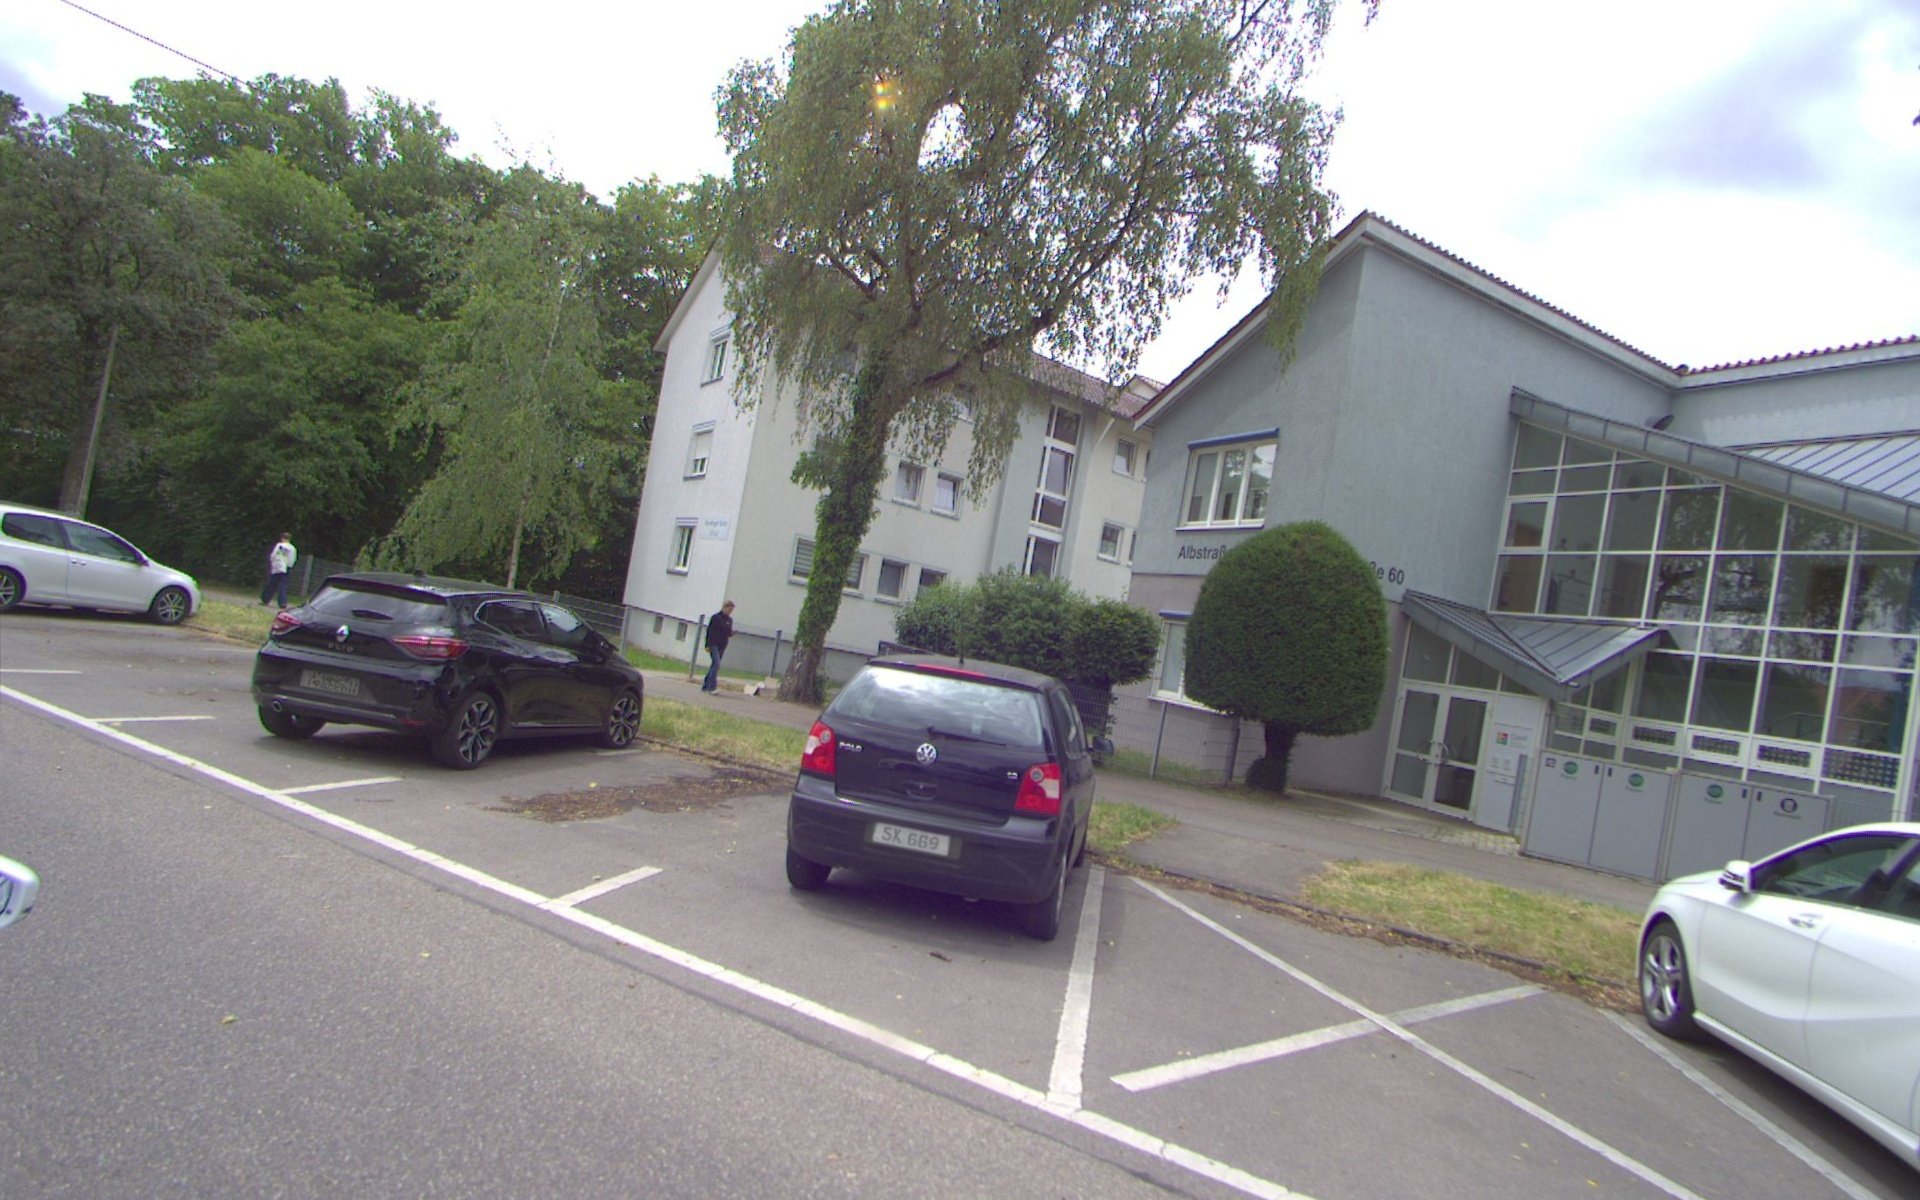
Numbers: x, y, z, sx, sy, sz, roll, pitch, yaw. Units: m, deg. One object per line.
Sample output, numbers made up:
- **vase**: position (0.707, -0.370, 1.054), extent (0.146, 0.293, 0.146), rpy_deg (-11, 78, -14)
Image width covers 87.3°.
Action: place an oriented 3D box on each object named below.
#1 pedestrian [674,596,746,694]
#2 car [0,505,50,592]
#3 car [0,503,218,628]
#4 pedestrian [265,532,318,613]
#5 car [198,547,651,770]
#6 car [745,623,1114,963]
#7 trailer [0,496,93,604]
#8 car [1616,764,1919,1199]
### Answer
- **pedestrian**: position (-4.230, 0.772, 17.064), extent (0.763, 1.521, 0.695), rpy_deg (8, -2, 11)
- **car**: position (-18.093, -1.166, 16.761), extent (1.816, 1.479, 4.008), rpy_deg (8, -4, 6)
- **car**: position (-13.628, -0.560, 14.968), extent (1.757, 1.479, 4.008), rpy_deg (8, -4, 6)
- **pedestrian**: position (-14.797, -0.613, 22.268), extent (0.689, 1.662, 0.769), rpy_deg (9, -2, -40)
- **car**: position (-4.519, 0.570, 9.273), extent (1.683, 1.449, 3.864), rpy_deg (6, -4, 6)
- **car**: position (0.086, 1.131, 6.947), extent (1.683, 1.479, 3.522), rpy_deg (8, -4, 11)
- **trailer**: position (-15.880, -0.985, 15.113), extent (1.627, 1.569, 4.007), rpy_deg (8, -3, 13)
- **car**: position (4.452, 1.650, 4.190), extent (1.683, 1.454, 3.865), rpy_deg (8, -4, 17)
